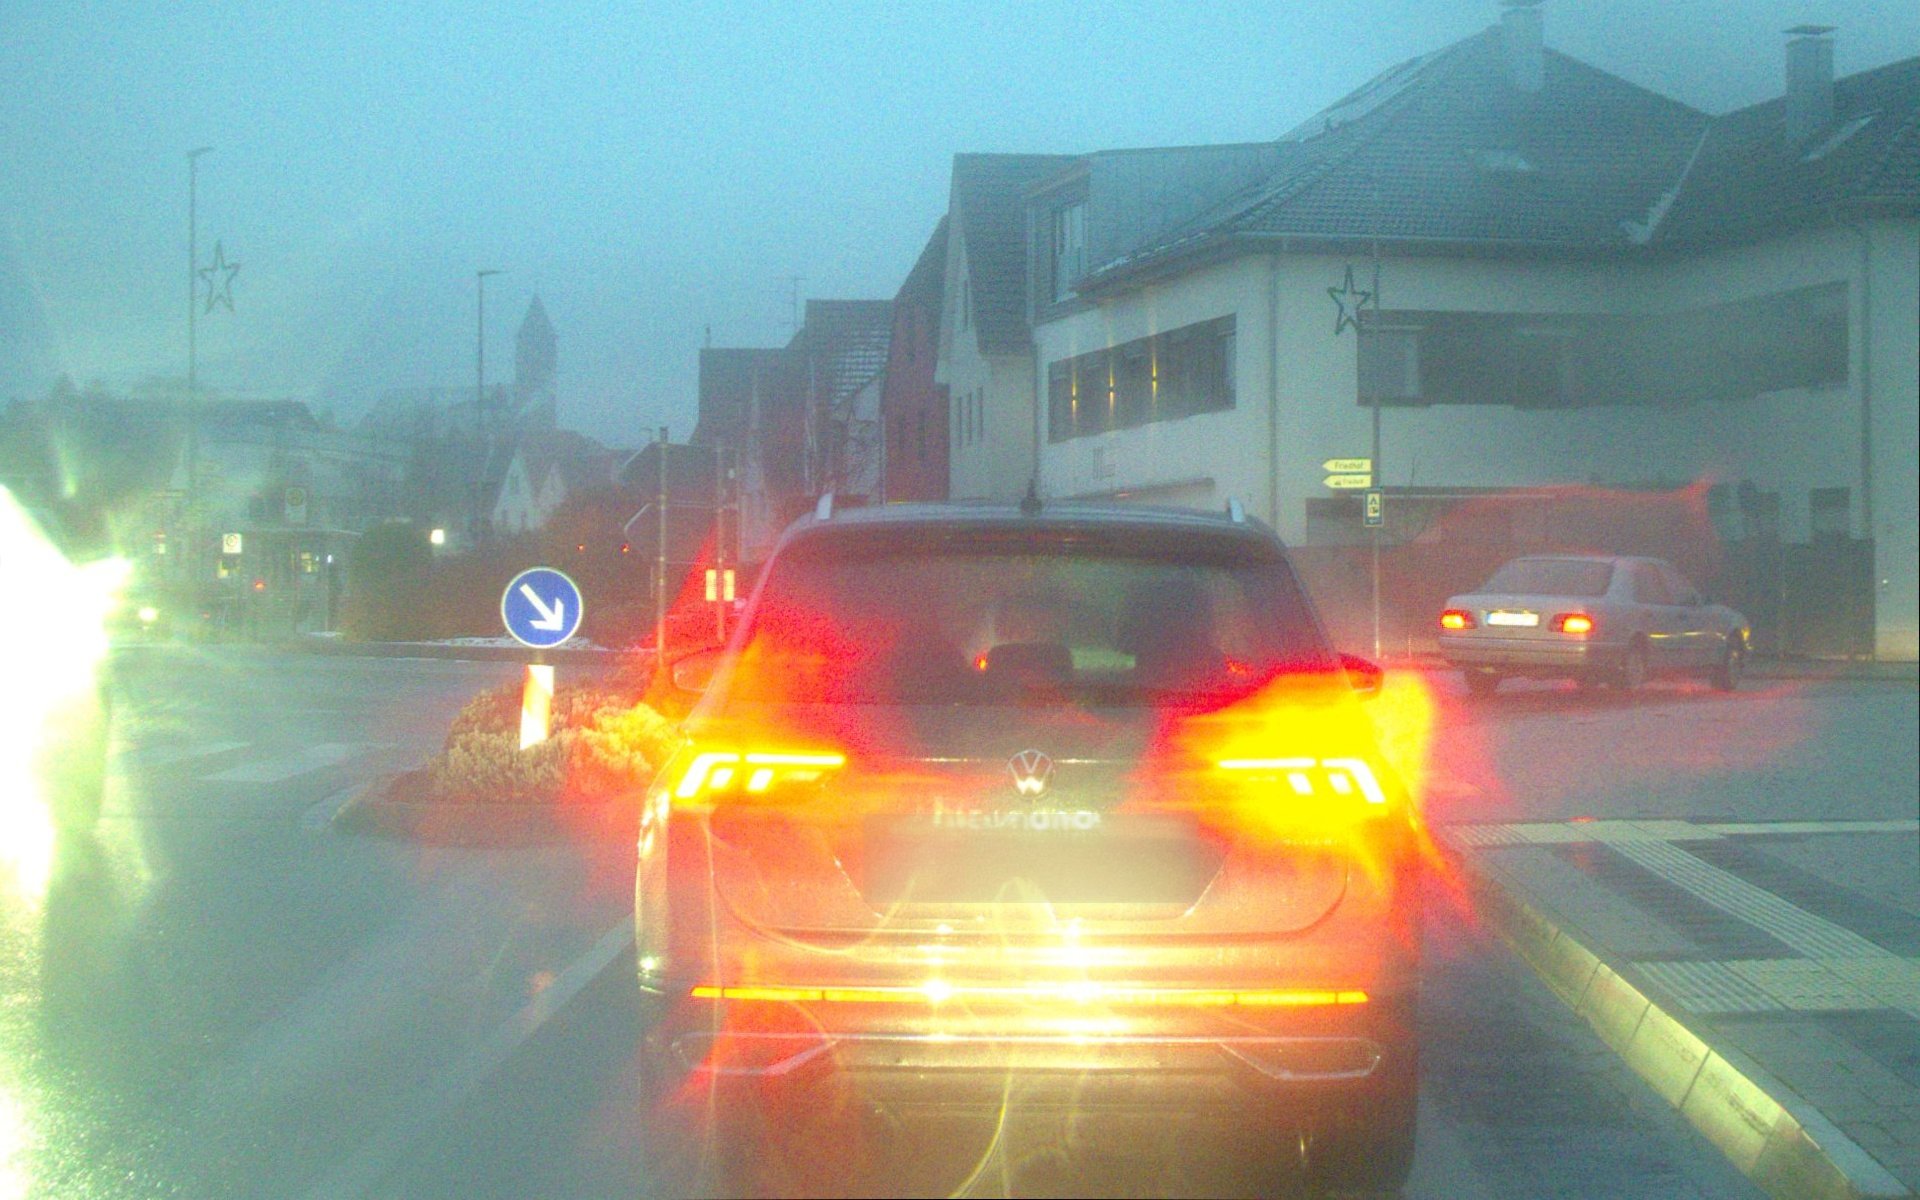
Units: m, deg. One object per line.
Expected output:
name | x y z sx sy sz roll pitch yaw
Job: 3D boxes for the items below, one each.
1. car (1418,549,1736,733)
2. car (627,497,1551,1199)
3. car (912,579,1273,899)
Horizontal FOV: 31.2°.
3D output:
car | 6.329 0.379 34.925 1.824 1.622 3.993 -1 2 31
car | 0.228 0.569 9.169 1.915 1.609 3.950 1 1 -1
car | 0.667 0.674 18.950 1.777 1.533 3.932 0 1 0
